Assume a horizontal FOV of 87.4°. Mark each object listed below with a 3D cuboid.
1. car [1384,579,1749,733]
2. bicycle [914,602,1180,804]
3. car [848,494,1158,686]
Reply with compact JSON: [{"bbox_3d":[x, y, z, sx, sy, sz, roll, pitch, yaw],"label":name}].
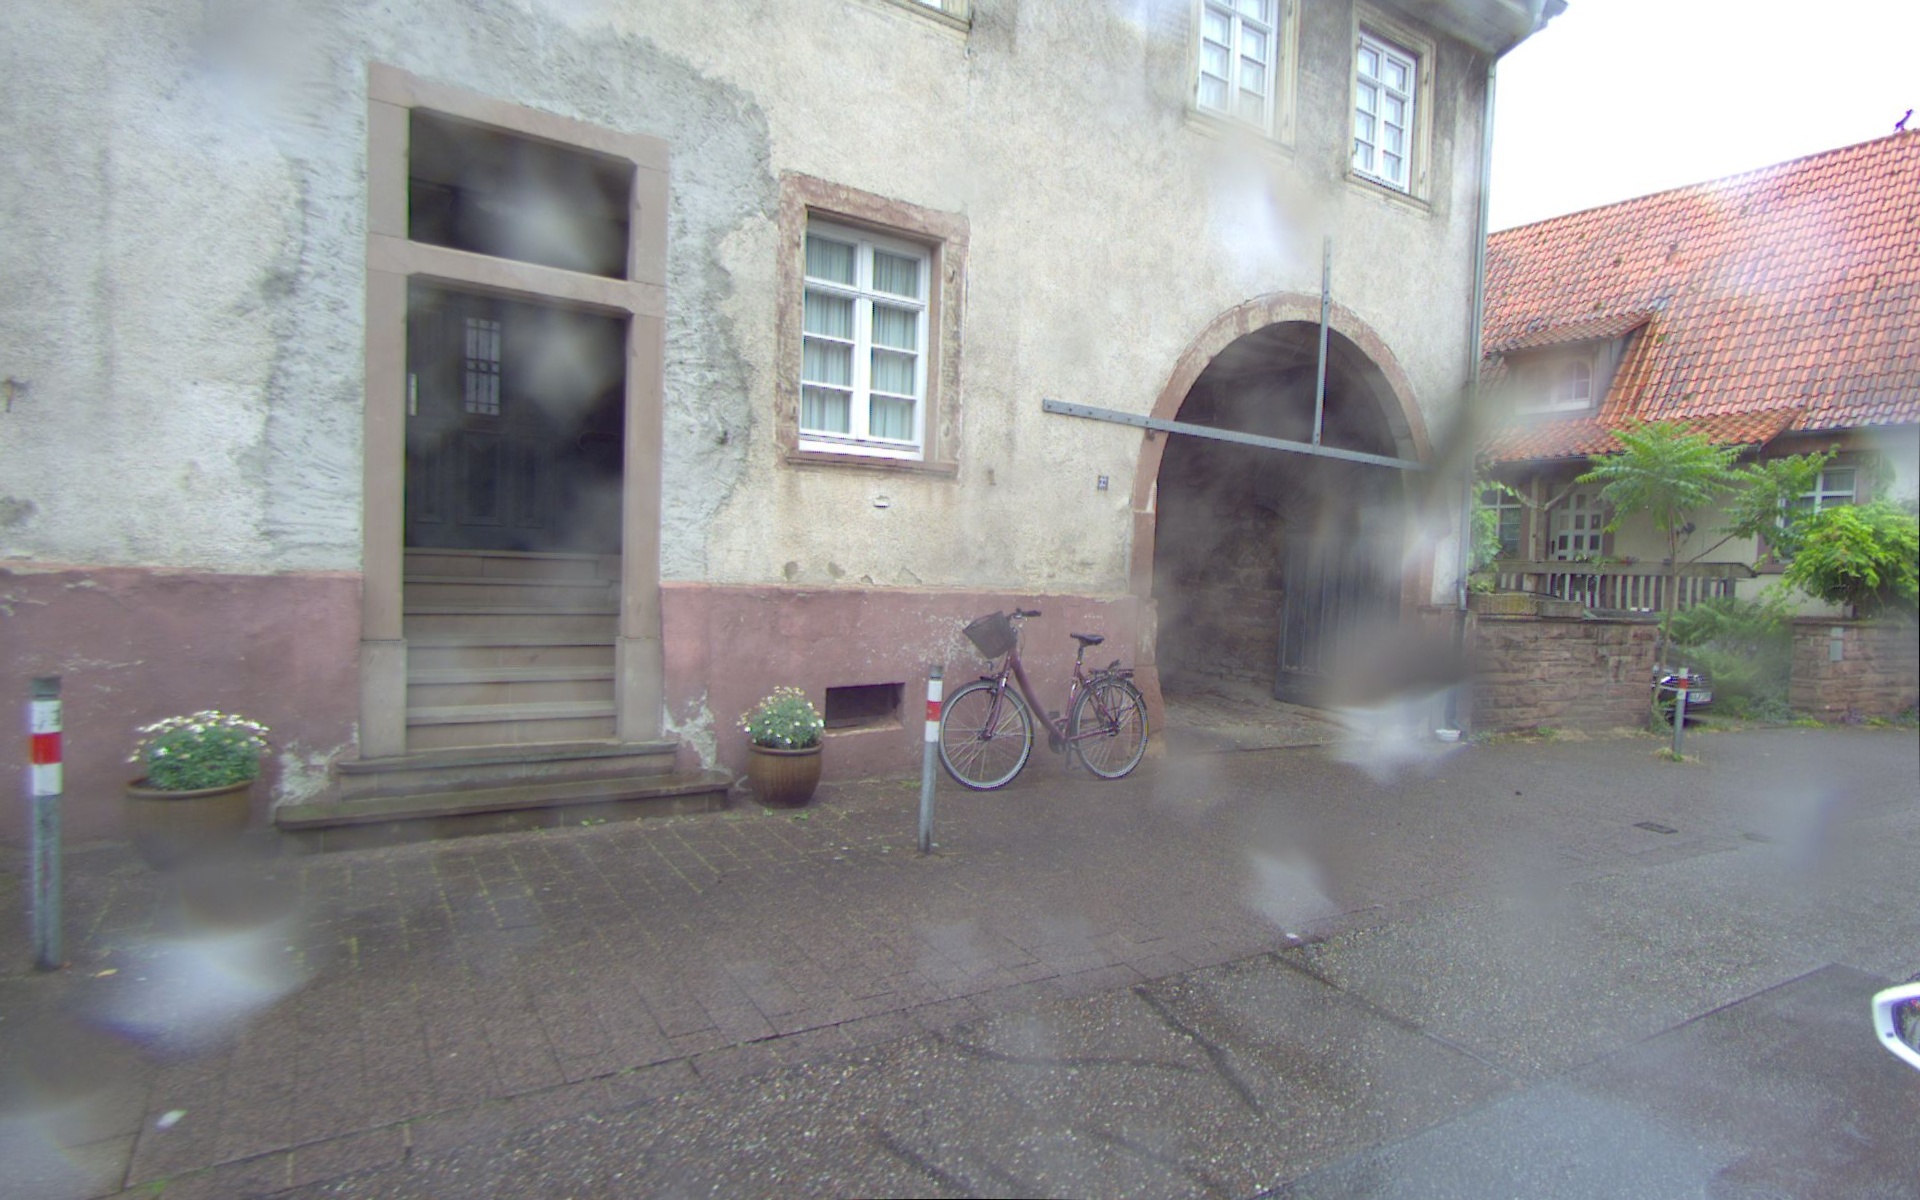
[{"bbox_3d":[8.200,0.662,14.027,1.713,1.445,3.973,2,6,-26],"label":"car"},{"bbox_3d":[0.624,0.641,6.795,1.855,1.194,0.478,1,4,-34],"label":"bicycle"},{"bbox_3d":[0.352,-0.261,13.042,1.865,1.959,4.201,1,6,-32],"label":"car"}]
